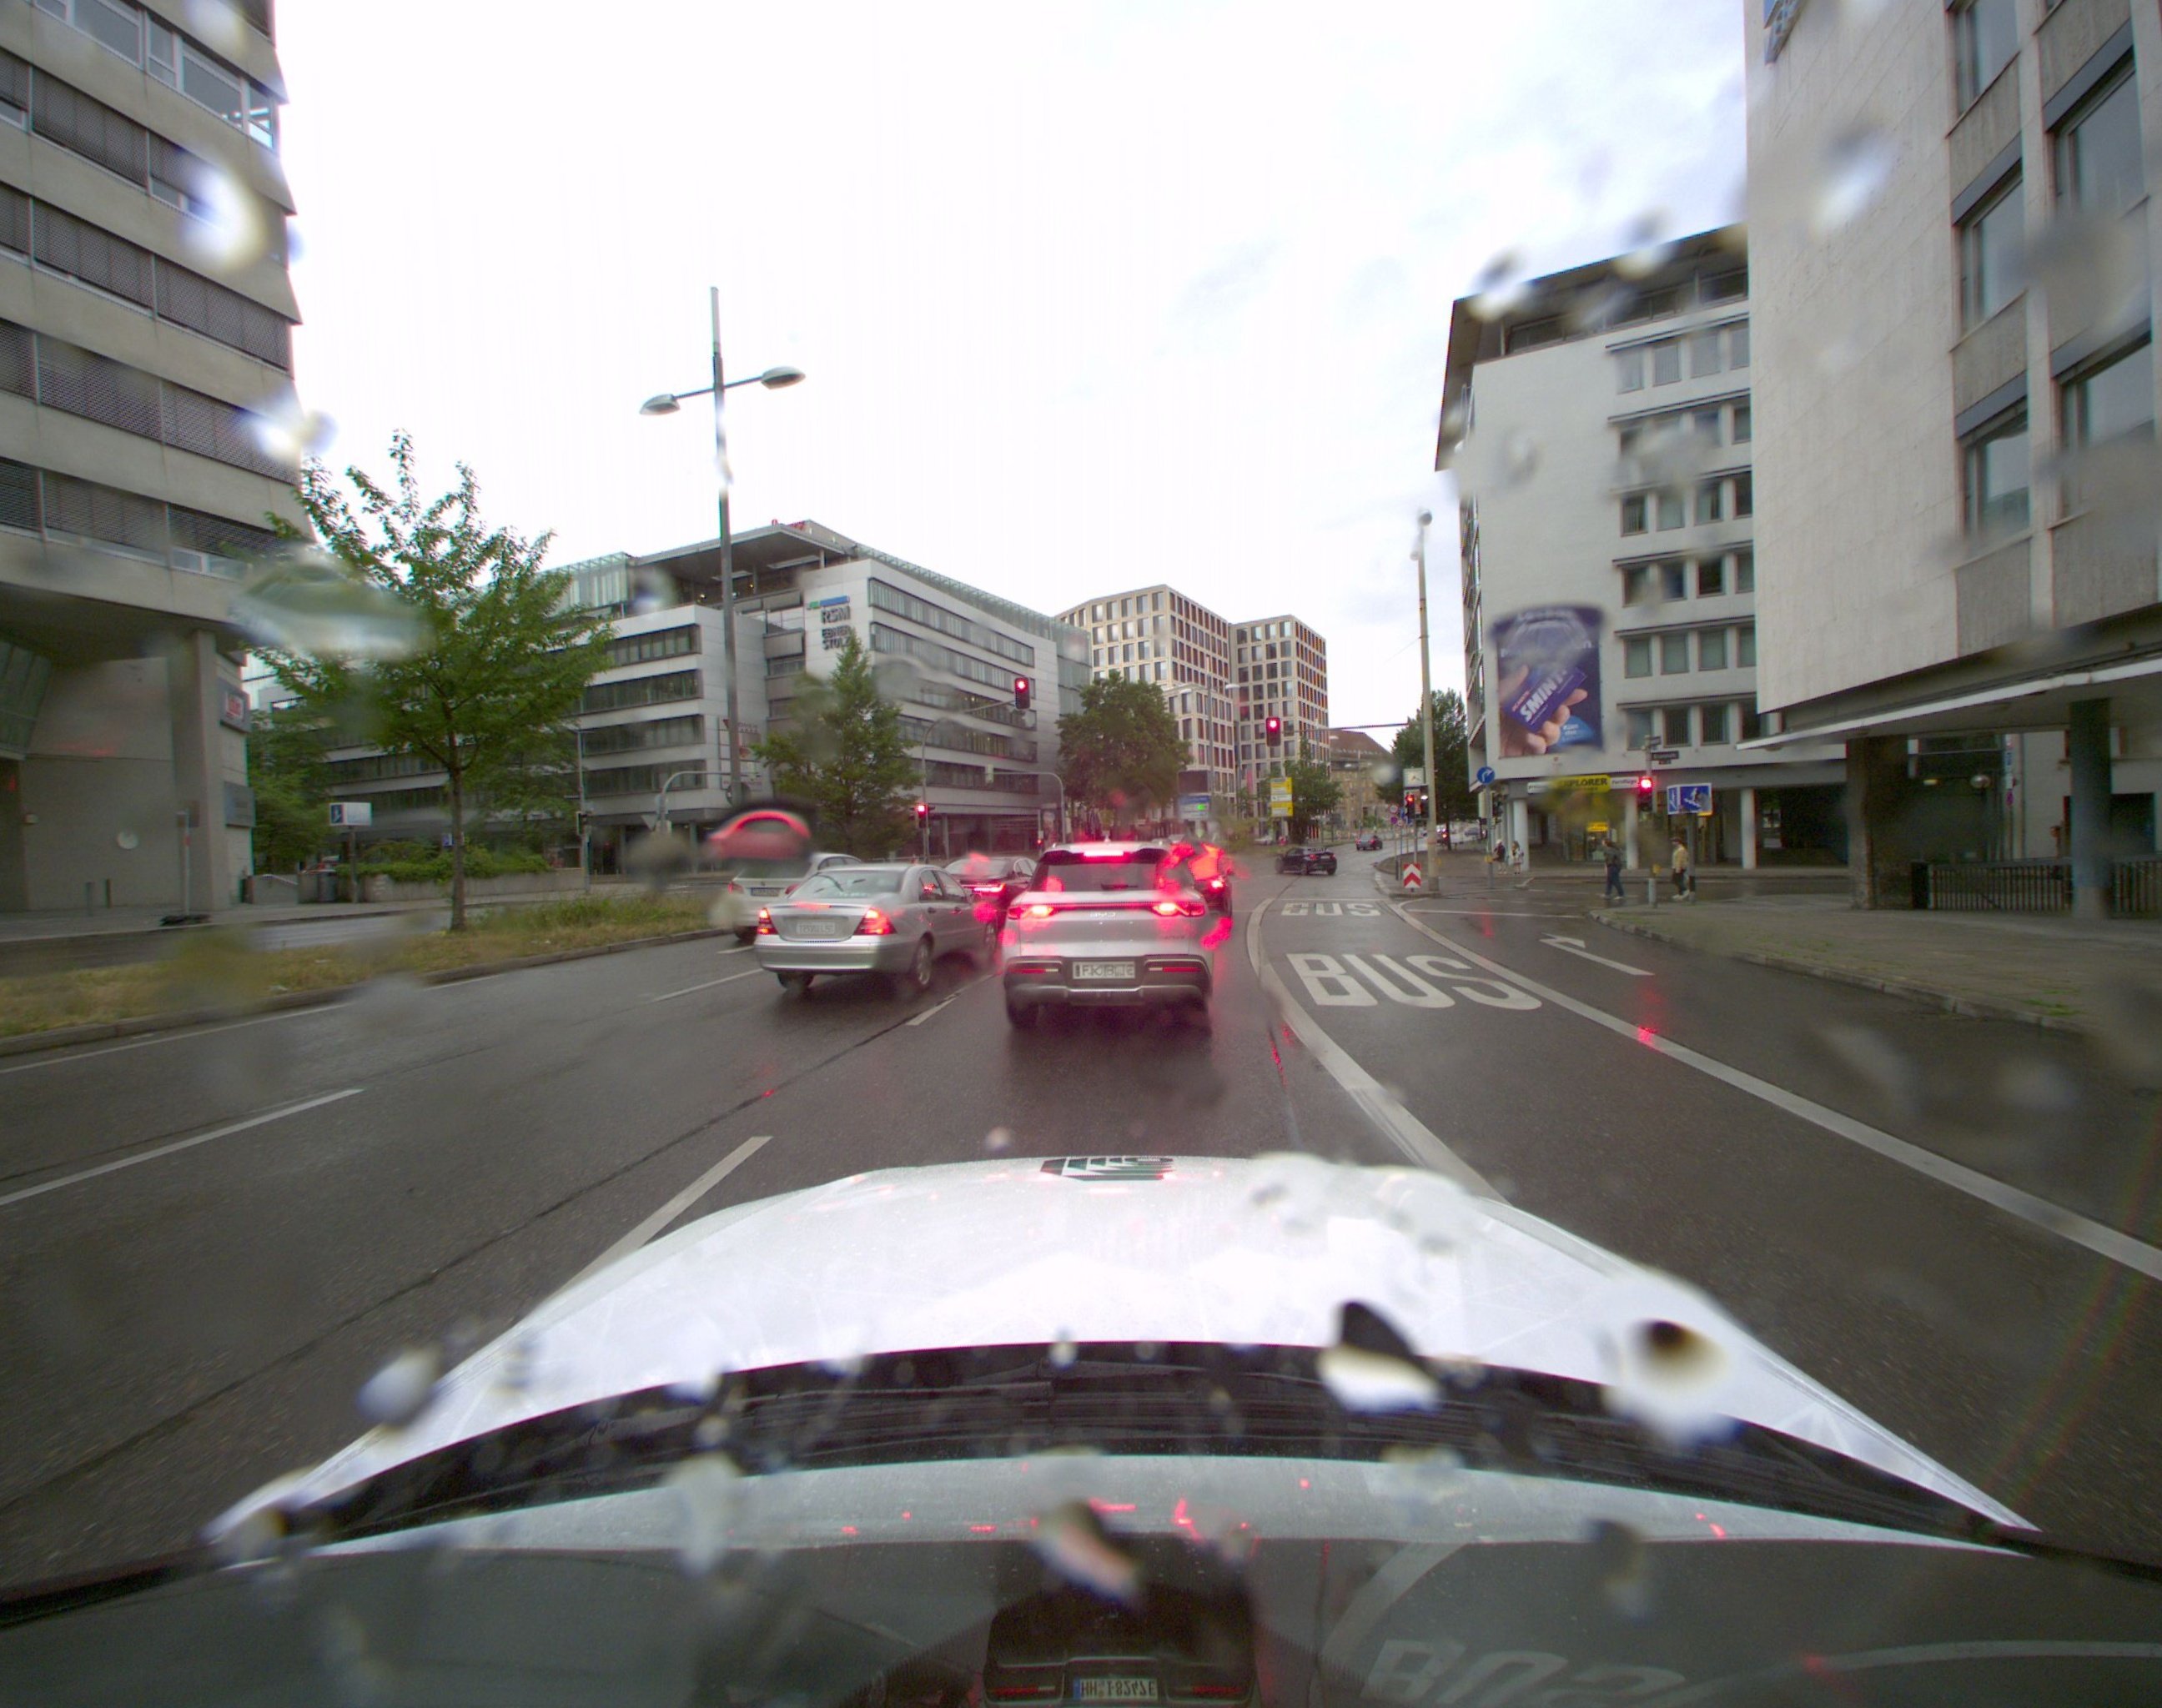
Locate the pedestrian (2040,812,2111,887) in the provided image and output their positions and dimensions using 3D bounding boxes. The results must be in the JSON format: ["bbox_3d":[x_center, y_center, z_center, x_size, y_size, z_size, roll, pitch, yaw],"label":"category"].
[{"bbox_3d":[23.791,-0.102,19.504,0.800,1.755,1.005,0,0,-44],"label":"pedestrian"}]

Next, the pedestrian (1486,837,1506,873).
[{"bbox_3d":[19.379,0.043,38.024,0.721,1.668,0.694,-1,-1,18],"label":"pedestrian"}]

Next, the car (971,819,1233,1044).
[{"bbox_3d":[0.382,0.587,8.530,1.983,1.709,4.490,-2,0,6],"label":"car"}]

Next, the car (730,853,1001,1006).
[{"bbox_3d":[-2.408,0.772,10.334,1.672,1.486,4.208,-2,0,10],"label":"car"}]

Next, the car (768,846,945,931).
[{"bbox_3d":[-4.622,0.650,17.475,1.871,1.596,4.016,-1,0,14],"label":"car"}]

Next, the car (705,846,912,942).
[{"bbox_3d":[-5.034,0.660,15.787,1.771,1.573,4.303,-2,0,13],"label":"car"}]

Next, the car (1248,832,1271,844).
[{"bbox_3d":[26.339,-2.381,120.121,1.974,1.705,4.336,0,2,29],"label":"car"}]

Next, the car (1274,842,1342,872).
[{"bbox_3d":[12.122,0.119,43.733,1.994,1.552,3.986,0,1,-11],"label":"car"}]

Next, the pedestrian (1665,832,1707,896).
[{"bbox_3d":[17.168,0.276,23.137,0.721,1.798,0.742,-1,0,18],"label":"pedestrian"}]

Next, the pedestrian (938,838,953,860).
[{"bbox_3d":[-10.875,-0.404,65.420,0.720,1.727,0.930,-1,0,24],"label":"pedestrian"}]

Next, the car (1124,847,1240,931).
[{"bbox_3d":[2.239,0.649,17.115,1.941,1.530,4.015,-1,0,13],"label":"car"}]

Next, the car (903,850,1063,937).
[{"bbox_3d":[-1.842,0.708,16.749,1.941,1.530,4.015,-1,0,13],"label":"car"}]

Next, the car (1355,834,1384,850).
[{"bbox_3d":[27.827,-1.183,78.477,1.892,1.510,4.383,0,1,29],"label":"car"}]

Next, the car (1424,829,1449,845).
[{"bbox_3d":[39.147,-1.886,89.650,2.027,1.765,4.384,0,1,30],"label":"car"}]

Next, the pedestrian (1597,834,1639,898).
[{"bbox_3d":[15.286,0.333,23.188,0.806,1.798,0.714,-1,0,18],"label":"pedestrian"}]

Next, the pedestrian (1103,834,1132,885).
[{"bbox_3d":[1.292,0.194,28.761,0.919,1.738,0.729,-2,0,-3],"label":"pedestrian"}]

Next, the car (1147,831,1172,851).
[{"bbox_3d":[8.835,-1.485,91.547,1.722,2.161,4.517,0,0,20],"label":"car"}]

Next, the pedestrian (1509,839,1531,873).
[{"bbox_3d":[20.156,0.095,37.368,0.721,1.524,0.763,-1,-1,18],"label":"pedestrian"}]
